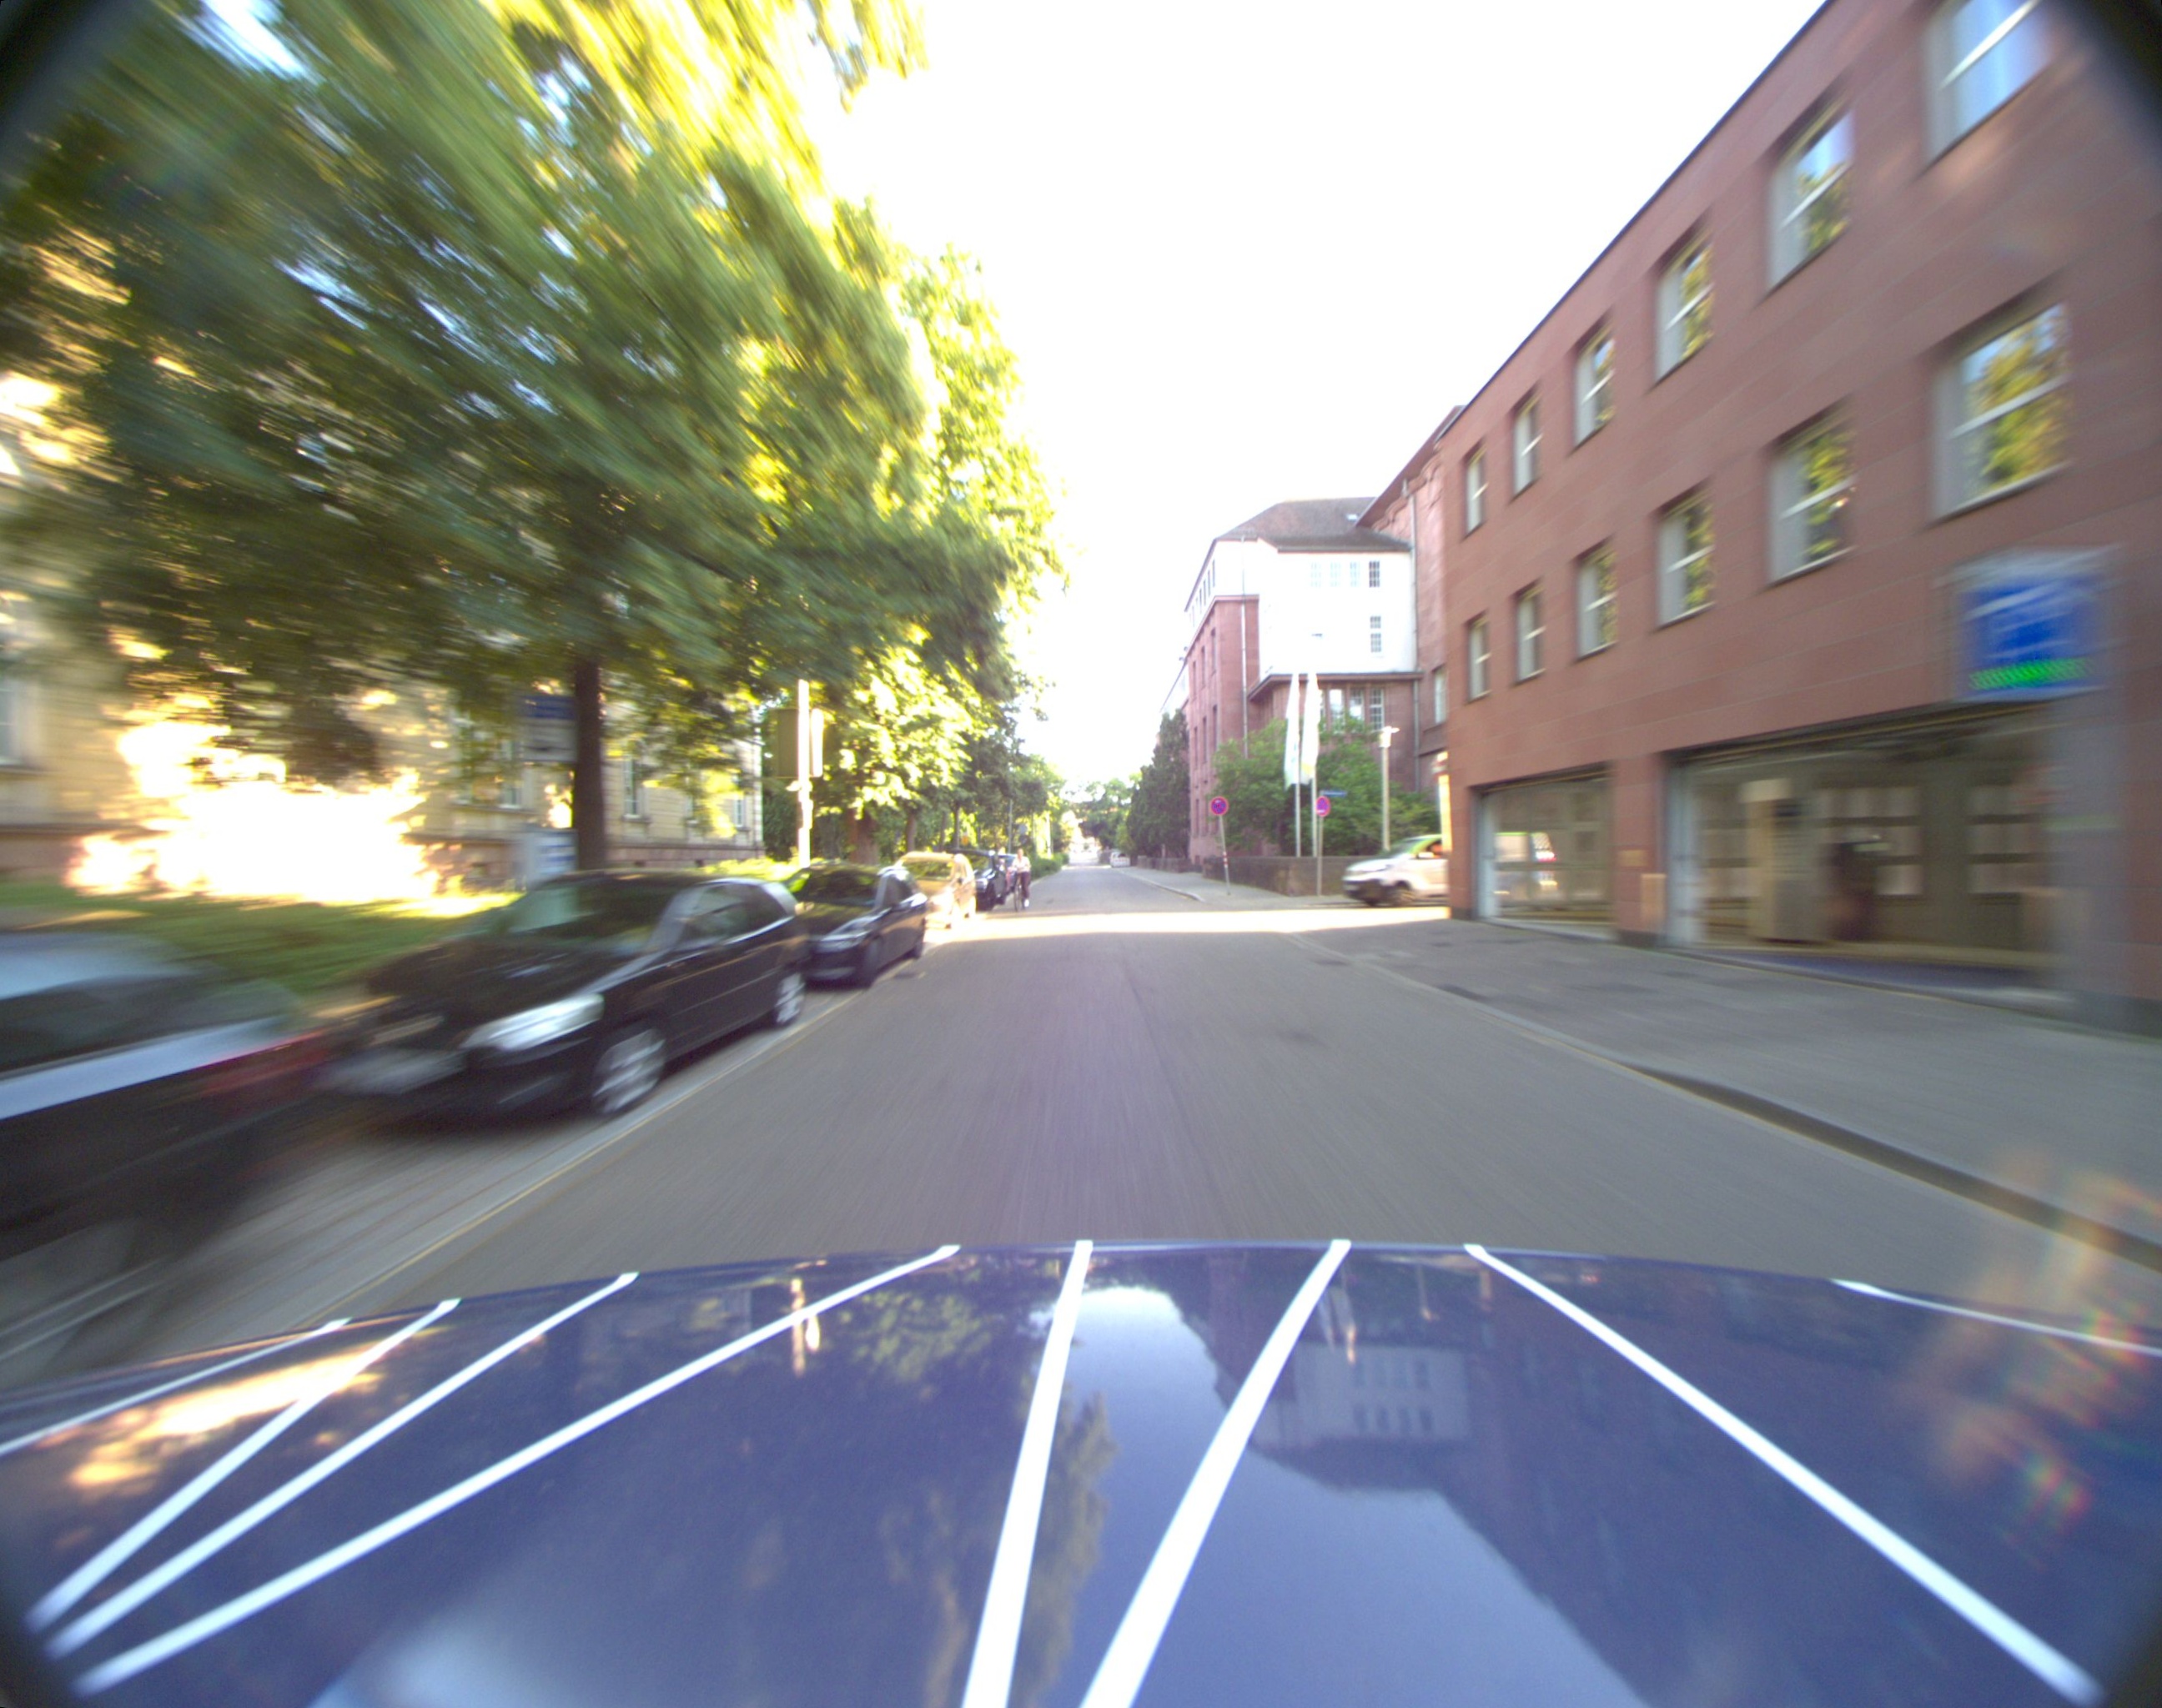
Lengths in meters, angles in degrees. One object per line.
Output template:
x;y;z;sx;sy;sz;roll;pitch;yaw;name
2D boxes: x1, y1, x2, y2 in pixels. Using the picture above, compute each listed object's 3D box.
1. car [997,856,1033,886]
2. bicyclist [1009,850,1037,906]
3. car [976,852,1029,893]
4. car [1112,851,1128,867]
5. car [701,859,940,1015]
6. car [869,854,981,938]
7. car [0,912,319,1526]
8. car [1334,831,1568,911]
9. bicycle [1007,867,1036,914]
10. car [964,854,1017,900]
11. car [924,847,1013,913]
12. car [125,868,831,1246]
-3.466;0.873;40.711;1.728;1.430;3.998;0;1;-2;car
-1.686;0.695;22.220;0.753;1.603;1.038;0;0;-2;bicyclist
-3.492;0.775;34.487;1.886;1.678;4.694;0;1;0;car
5.119;0.620;100.135;1.886;2.040;4.324;0;1;0;car
-3.320;0.940;10.745;1.728;1.525;4.622;4;1;0;car
-3.526;0.875;18.012;1.728;1.673;4.498;0;1;0;car
-3.633;1.001;0.474;1.739;1.498;4.521;0;1;0;car
9.538;0.444;19.891;5.105;1.863;2.000;-1;-1;-1;car
-1.706;1.035;22.203;0.753;1.245;2.209;0;0;-2;bicycle
-3.433;0.831;29.457;1.728;1.580;3.968;0;1;-2;car
-3.368;0.709;23.707;1.809;1.803;4.947;0;1;3;car
-3.526;0.984;5.636;1.728;1.525;4.189;3;1;3;car
